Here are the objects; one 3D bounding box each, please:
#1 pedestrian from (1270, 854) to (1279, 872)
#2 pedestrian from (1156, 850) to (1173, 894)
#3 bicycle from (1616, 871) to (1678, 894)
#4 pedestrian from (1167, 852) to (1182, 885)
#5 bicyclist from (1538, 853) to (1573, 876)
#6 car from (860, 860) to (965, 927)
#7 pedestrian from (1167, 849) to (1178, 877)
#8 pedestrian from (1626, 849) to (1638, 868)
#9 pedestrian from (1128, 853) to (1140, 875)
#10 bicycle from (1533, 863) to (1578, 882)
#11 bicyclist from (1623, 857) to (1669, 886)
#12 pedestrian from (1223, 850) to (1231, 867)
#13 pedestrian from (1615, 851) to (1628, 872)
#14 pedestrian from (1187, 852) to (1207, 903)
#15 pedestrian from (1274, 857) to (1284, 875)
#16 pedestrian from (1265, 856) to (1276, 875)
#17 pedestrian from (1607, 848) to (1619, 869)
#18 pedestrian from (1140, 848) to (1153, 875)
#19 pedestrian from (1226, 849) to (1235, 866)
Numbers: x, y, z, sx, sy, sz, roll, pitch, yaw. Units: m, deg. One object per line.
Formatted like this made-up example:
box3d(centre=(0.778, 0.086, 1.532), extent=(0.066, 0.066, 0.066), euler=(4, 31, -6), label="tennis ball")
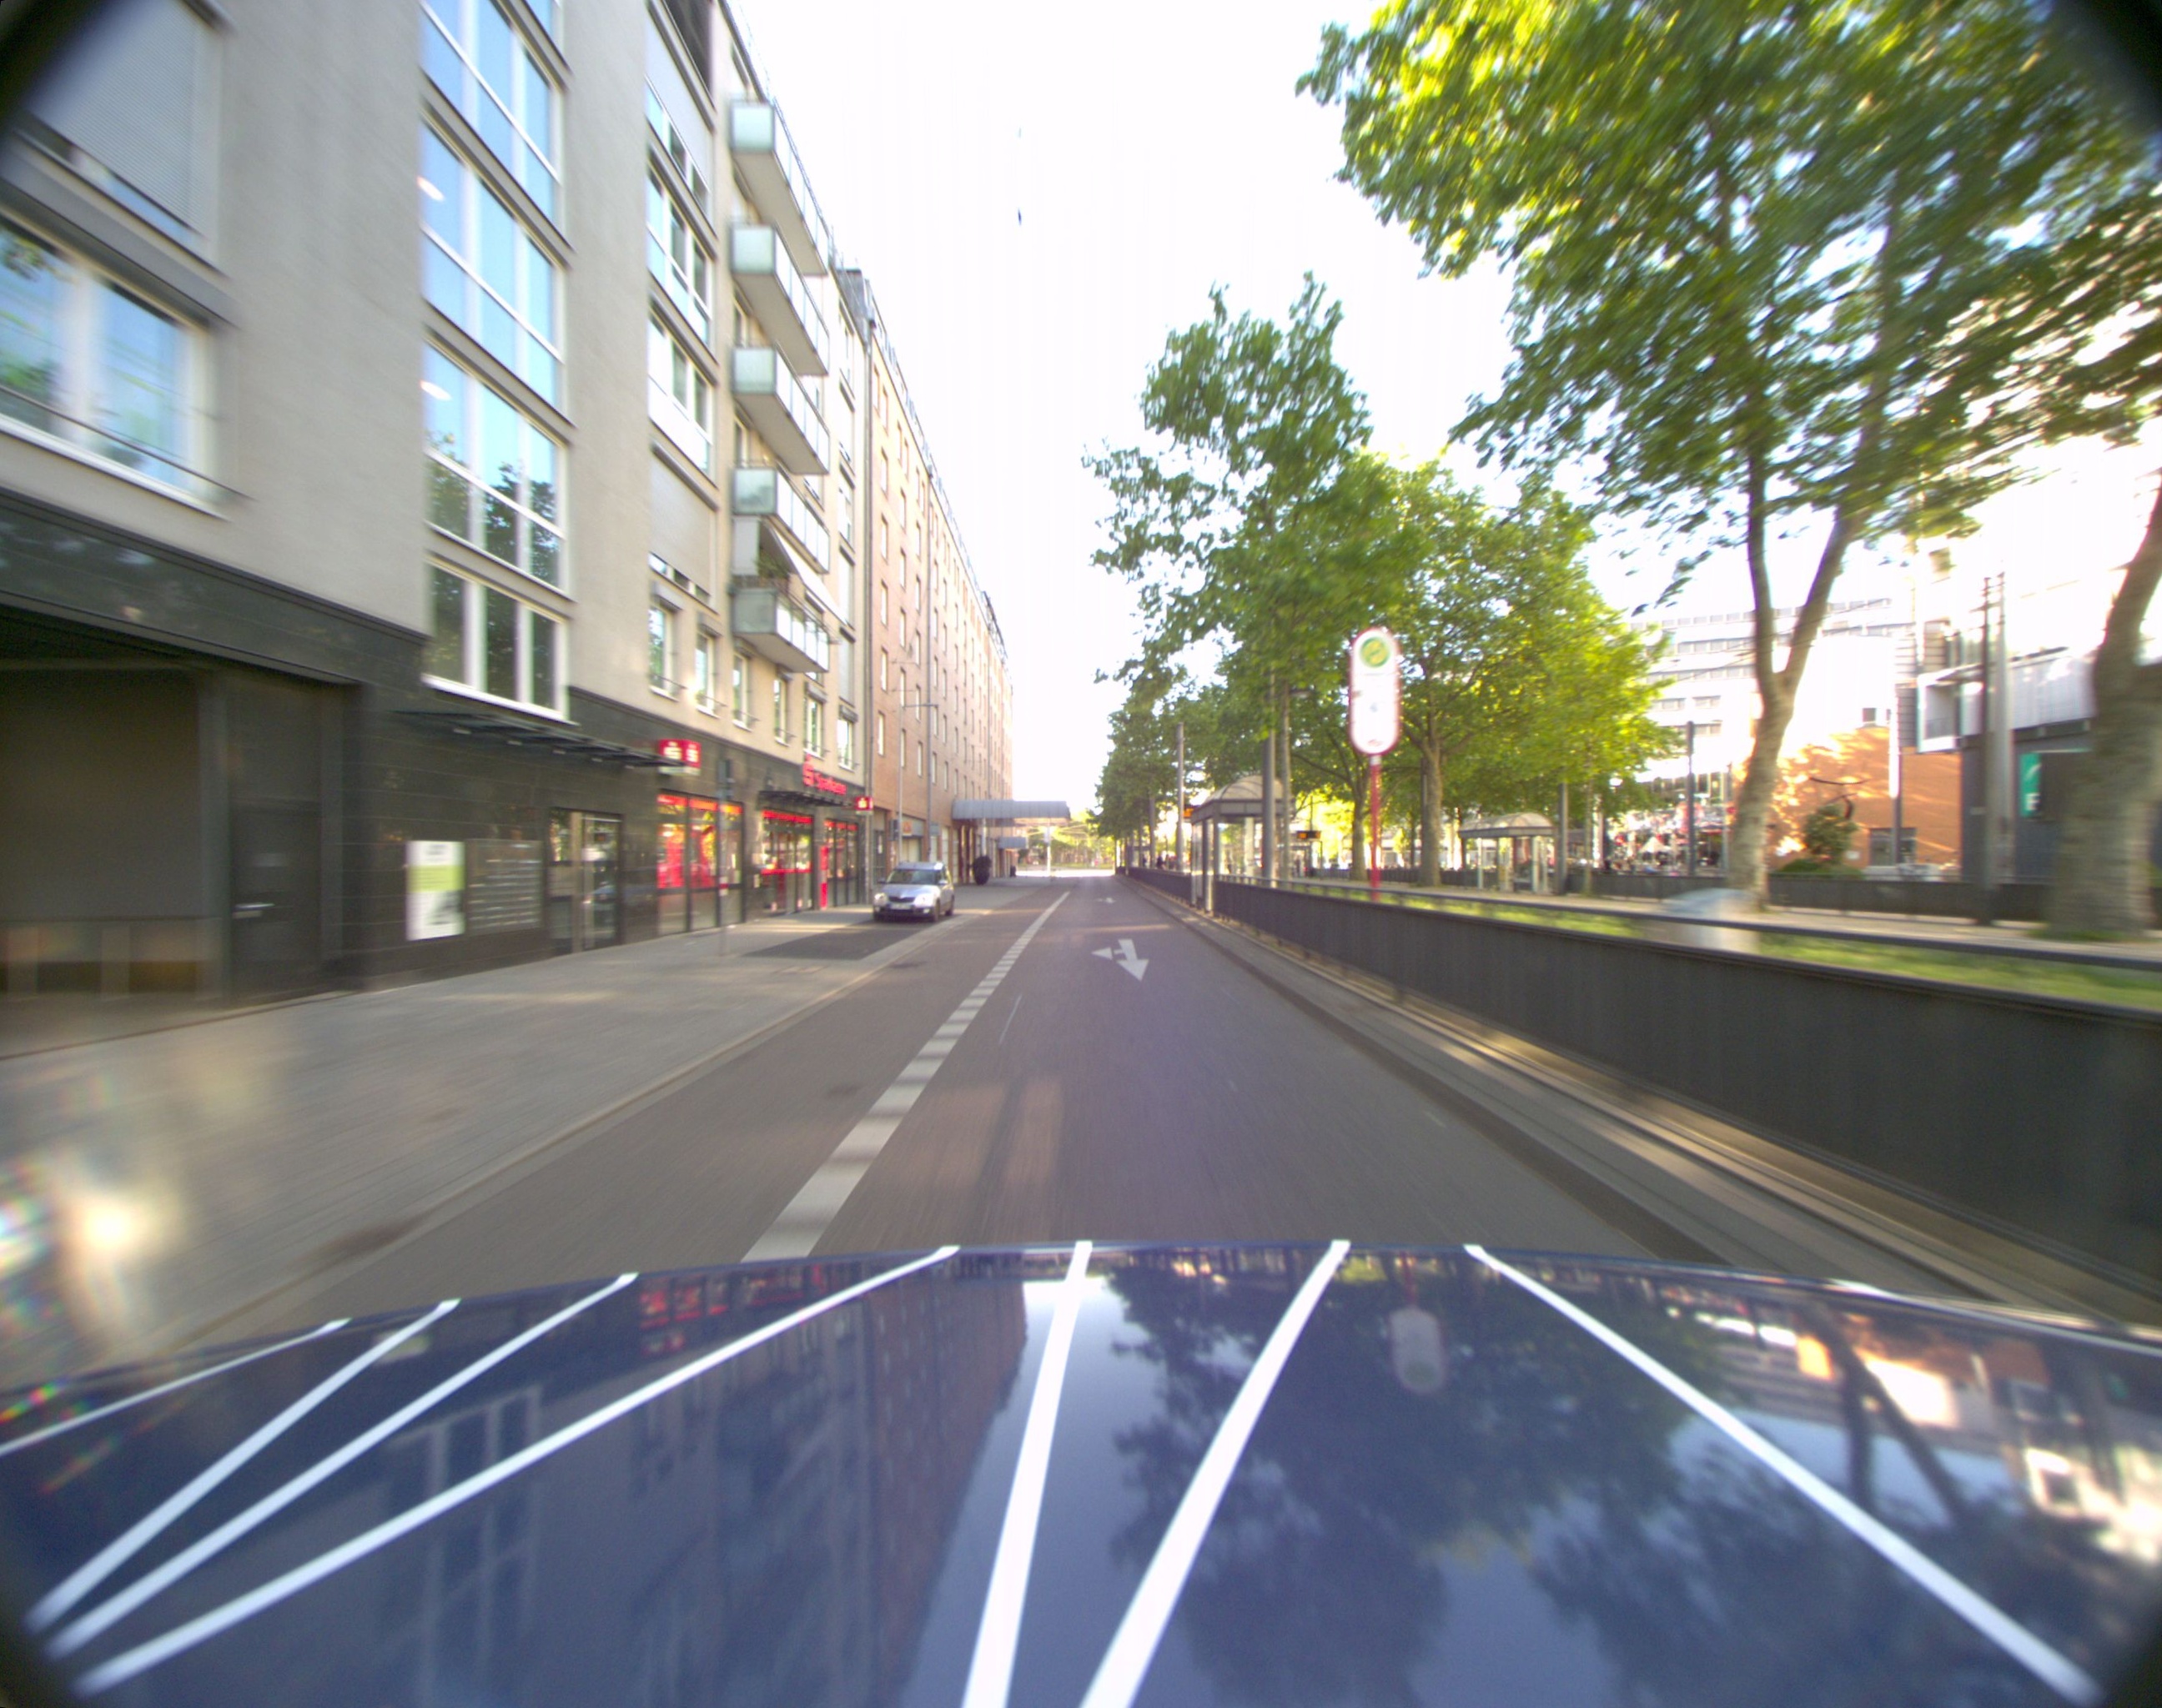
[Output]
box3d(centre=(16.356, 0.753, 64.180), extent=(0.554, 1.488, 0.550), euler=(-1, 0, -11), label="pedestrian")
box3d(centre=(3.591, 0.769, 32.693), extent=(0.647, 1.875, 0.661), euler=(0, 0, 1), label="pedestrian")
box3d(centre=(25.601, 1.273, 34.415), extent=(0.802, 0.991, 2.585), euler=(-2, -1, -2), label="bicycle")
box3d(centre=(4.975, 0.770, 40.452), extent=(0.731, 1.692, 0.863), euler=(-1, 0, 3), label="pedestrian")
box3d(centre=(25.928, 0.567, 41.550), extent=(1.007, 1.242, 1.374), euler=(-2, 0, -2), label="bicyclist")
box3d(centre=(-4.545, 1.007, 21.178), extent=(1.837, 1.613, 4.285), euler=(2, 0, 1), label="car")
box3d(centre=(6.047, 0.584, 50.058), extent=(0.648, 1.828, 0.638), euler=(-1, 0, 0), label="pedestrian")
box3d(centre=(45.154, 0.372, 62.261), extent=(0.579, 1.595, 0.598), euler=(-1, 0, 0), label="pedestrian")
box3d(centre=(4.063, 0.748, 58.130), extent=(0.742, 1.680, 0.645), euler=(-3, 0, -1), label="pedestrian")
box3d(centre=(25.893, 0.979, 41.529), extent=(0.802, 0.991, 2.585), euler=(-2, -1, -2), label="bicycle")
box3d(centre=(25.601, 0.785, 34.454), extent=(1.007, 1.242, 1.374), euler=(-2, 0, -2), label="bicyclist")
box3d(centre=(15.302, 0.464, 79.784), extent=(0.656, 1.744, 0.676), euler=(-1, 0, -7), label="pedestrian")
box3d(centre=(41.344, 0.554, 58.089), extent=(0.579, 1.595, 0.598), euler=(-1, 0, 6), label="pedestrian")
box3d(centre=(4.360, 0.878, 28.590), extent=(0.647, 1.860, 0.753), euler=(-1, 0, 1), label="pedestrian")
box3d(centre=(16.594, 0.983, 63.582), extent=(0.571, 1.477, 0.607), euler=(-1, 0, -11), label="pedestrian")
box3d(centre=(16.637, 0.976, 66.638), extent=(0.669, 1.632, 0.669), euler=(-1, 1, -11), label="pedestrian")
box3d(centre=(40.736, 0.371, 58.177), extent=(0.579, 1.595, 0.580), euler=(-1, 0, 6), label="pedestrian")
box3d(centre=(4.373, 0.481, 51.116), extent=(0.708, 1.791, 0.826), euler=(-1, 0, -6), label="pedestrian")
box3d(centre=(15.583, 0.372, 79.057), extent=(0.686, 1.686, 0.699), euler=(-1, 0, -7), label="pedestrian")
